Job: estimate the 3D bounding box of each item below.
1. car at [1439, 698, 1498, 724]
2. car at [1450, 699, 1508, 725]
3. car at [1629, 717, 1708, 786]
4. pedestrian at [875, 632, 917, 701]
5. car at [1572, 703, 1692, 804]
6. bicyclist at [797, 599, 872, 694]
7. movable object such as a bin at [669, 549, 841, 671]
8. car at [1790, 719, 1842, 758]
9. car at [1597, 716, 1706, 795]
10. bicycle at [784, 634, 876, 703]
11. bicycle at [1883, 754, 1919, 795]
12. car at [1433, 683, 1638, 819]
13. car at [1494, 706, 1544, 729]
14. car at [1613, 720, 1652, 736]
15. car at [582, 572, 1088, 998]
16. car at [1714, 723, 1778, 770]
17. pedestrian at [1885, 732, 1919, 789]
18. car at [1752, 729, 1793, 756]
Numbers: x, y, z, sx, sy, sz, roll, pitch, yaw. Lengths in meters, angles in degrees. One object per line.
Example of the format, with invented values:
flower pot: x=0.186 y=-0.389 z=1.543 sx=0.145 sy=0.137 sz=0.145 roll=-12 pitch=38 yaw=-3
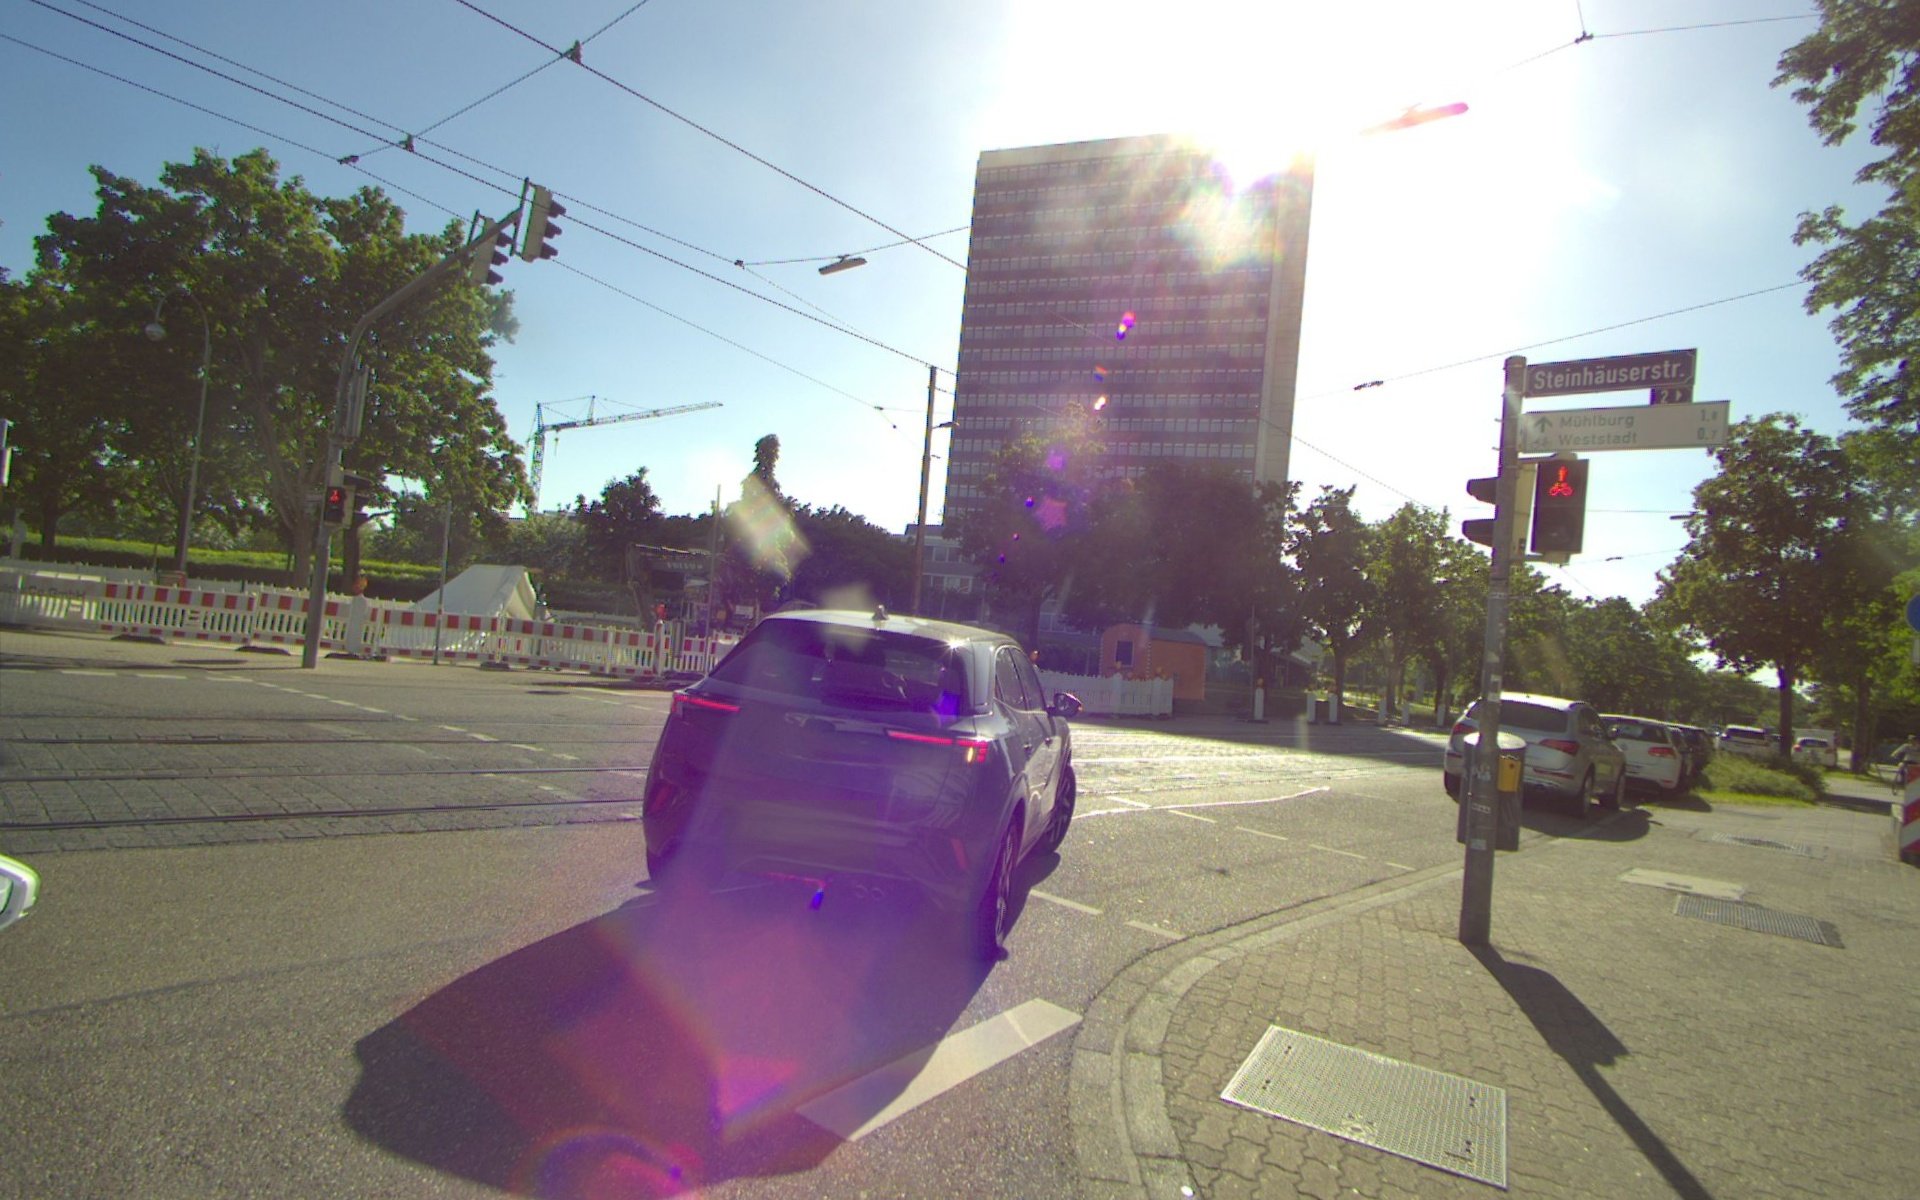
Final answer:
car: x=30.167 y=6.578 z=59.676 sx=2.863 sy=1.190 sz=1.251 roll=3 pitch=-4 yaw=39
car: x=31.610 y=6.833 z=61.323 sx=2.863 sy=1.263 sz=1.251 roll=3 pitch=-4 yaw=39
car: x=18.893 y=3.977 z=26.777 sx=1.462 sy=1.478 sz=3.358 roll=6 pitch=-1 yaw=38
pedestrian: x=-1.588 y=1.636 z=24.910 sx=0.635 sy=1.619 sz=0.628 roll=7 pitch=-2 yaw=-41
car: x=13.116 y=2.891 z=19.562 sx=1.631 sy=1.550 sz=3.496 roll=6 pitch=-1 yaw=37
bicyclist: x=-2.630 y=0.972 z=21.108 sx=0.902 sy=1.852 sz=1.090 roll=5 pitch=-1 yaw=43
movable object such as a bin: x=-6.662 y=0.386 z=33.168 sx=2.790 sy=3.401 sz=4.703 roll=4 pitch=-4 yaw=33
car: x=44.055 y=7.125 z=51.729 sx=1.787 sy=1.694 sz=3.857 roll=4 pitch=-3 yaw=43
car: x=15.957 y=3.512 z=23.153 sx=1.643 sy=1.423 sz=3.279 roll=6 pitch=-1 yaw=40
bicycle: x=-2.703 y=1.448 z=21.089 sx=1.773 sy=1.281 sz=0.646 roll=7 pitch=-1 yaw=-45
bicycle: x=28.706 y=5.282 z=30.459 sx=2.176 sy=1.073 sz=0.801 roll=8 pitch=-3 yaw=-40
car: x=9.144 y=2.281 z=15.807 sx=1.910 sy=1.639 sz=4.303 roll=4 pitch=-2 yaw=41
car: x=40.534 y=8.502 z=72.947 sx=2.902 sy=1.264 sz=1.402 roll=3 pitch=-4 yaw=39
car: x=72.960 y=13.893 z=109.174 sx=3.291 sy=1.264 sz=1.447 roll=3 pitch=-4 yaw=39
car: x=-0.325 y=0.869 z=6.012 sx=1.753 sy=1.534 sz=3.762 roll=6 pitch=-3 yaw=12
car: x=32.581 y=6.034 z=41.683 sx=1.785 sy=1.566 sz=3.520 roll=6 pitch=-1 yaw=41
pedestrian: x=28.666 y=4.847 z=30.386 sx=0.927 sy=1.571 sz=0.869 roll=7 pitch=-2 yaw=-39
car: x=53.013 y=9.311 z=65.617 sx=1.741 sy=1.473 sz=3.675 roll=4 pitch=-3 yaw=43
